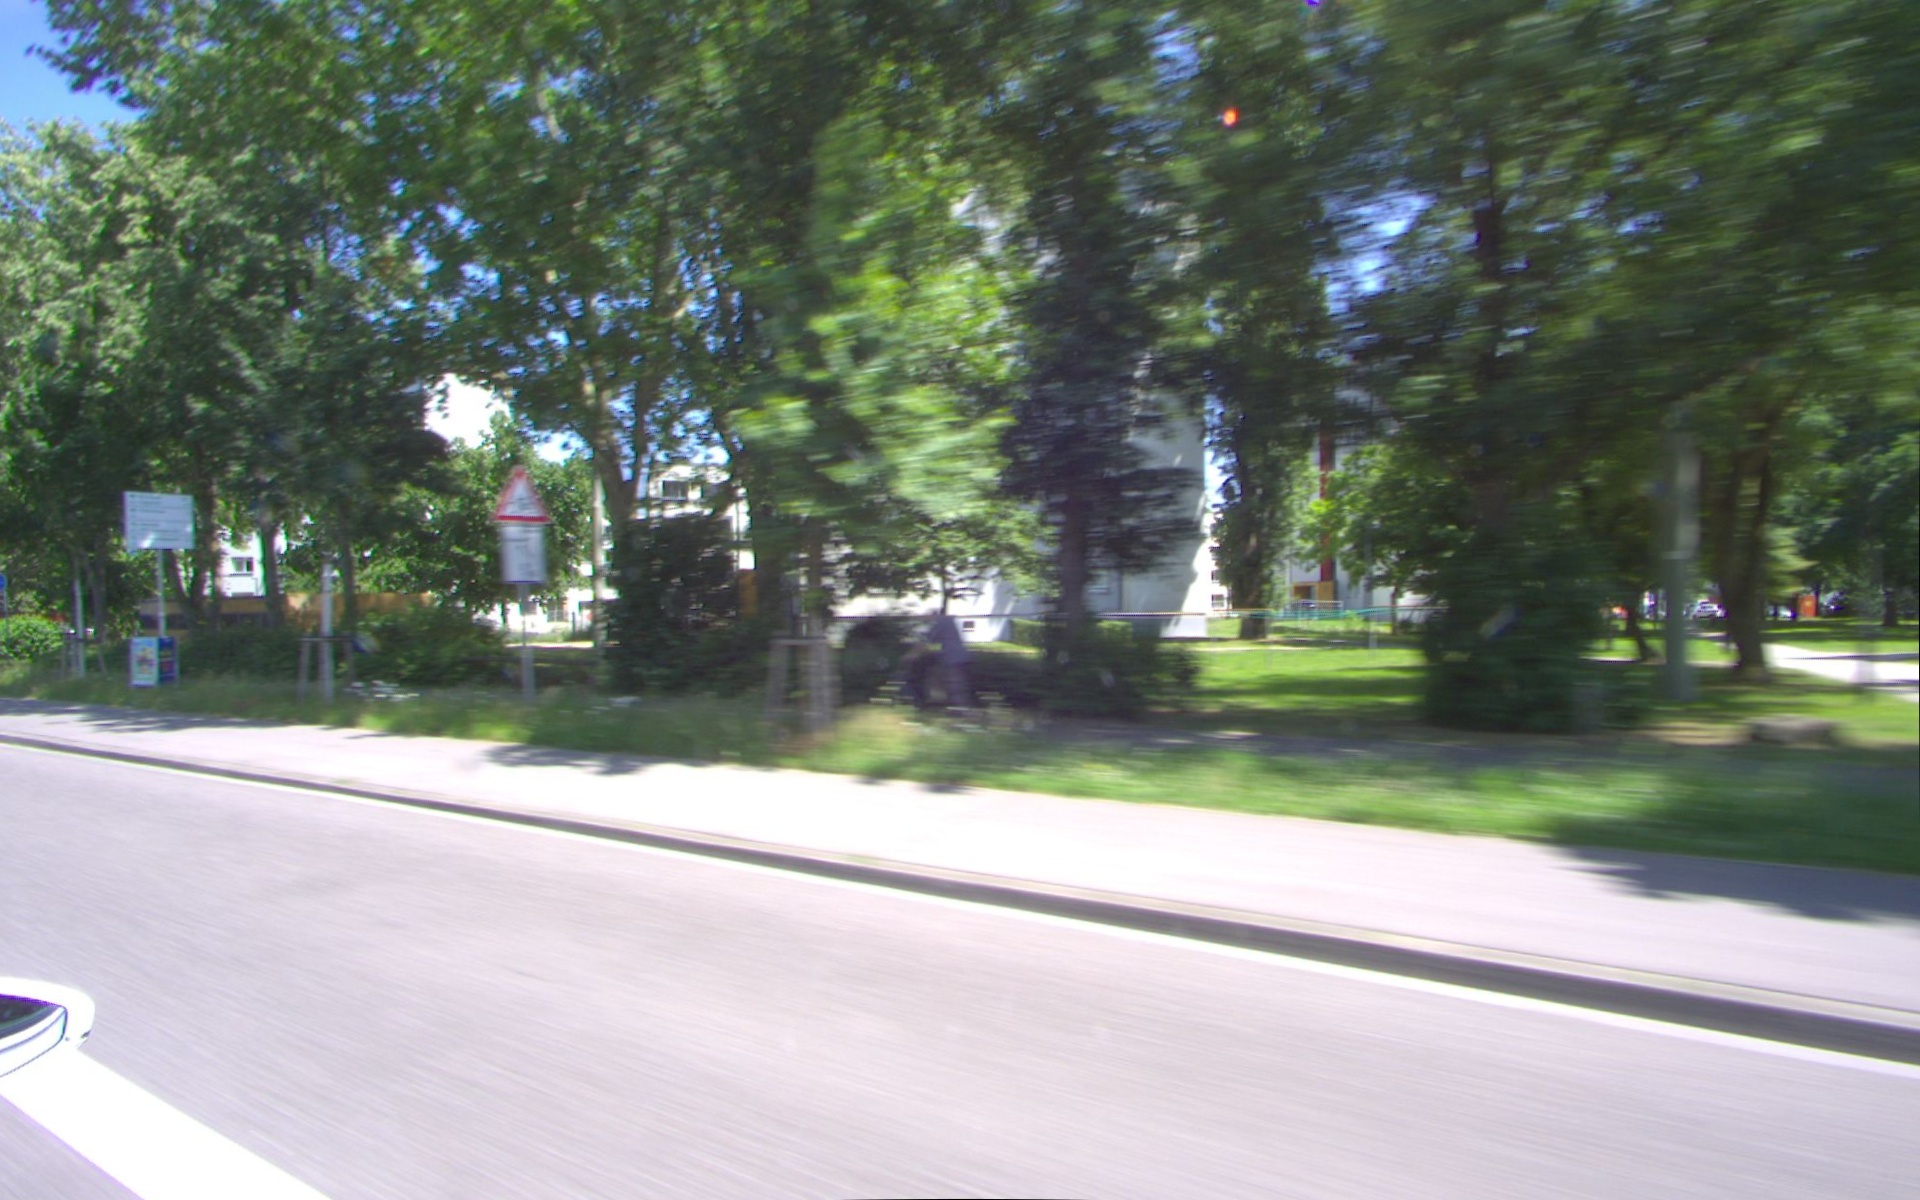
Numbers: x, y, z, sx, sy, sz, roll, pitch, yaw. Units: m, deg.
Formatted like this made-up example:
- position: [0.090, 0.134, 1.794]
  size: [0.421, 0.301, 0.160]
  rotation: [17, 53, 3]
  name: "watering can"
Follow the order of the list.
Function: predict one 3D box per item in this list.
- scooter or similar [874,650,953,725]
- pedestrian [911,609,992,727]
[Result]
- position: [-0.592, 1.097, 12.819]
  size: [0.752, 0.904, 0.707]
  rotation: [0, -1, 33]
  name: "scooter or similar"
- position: [-0.104, 0.833, 12.501]
  size: [0.752, 1.416, 0.707]
  rotation: [0, -1, 33]
  name: "pedestrian"
